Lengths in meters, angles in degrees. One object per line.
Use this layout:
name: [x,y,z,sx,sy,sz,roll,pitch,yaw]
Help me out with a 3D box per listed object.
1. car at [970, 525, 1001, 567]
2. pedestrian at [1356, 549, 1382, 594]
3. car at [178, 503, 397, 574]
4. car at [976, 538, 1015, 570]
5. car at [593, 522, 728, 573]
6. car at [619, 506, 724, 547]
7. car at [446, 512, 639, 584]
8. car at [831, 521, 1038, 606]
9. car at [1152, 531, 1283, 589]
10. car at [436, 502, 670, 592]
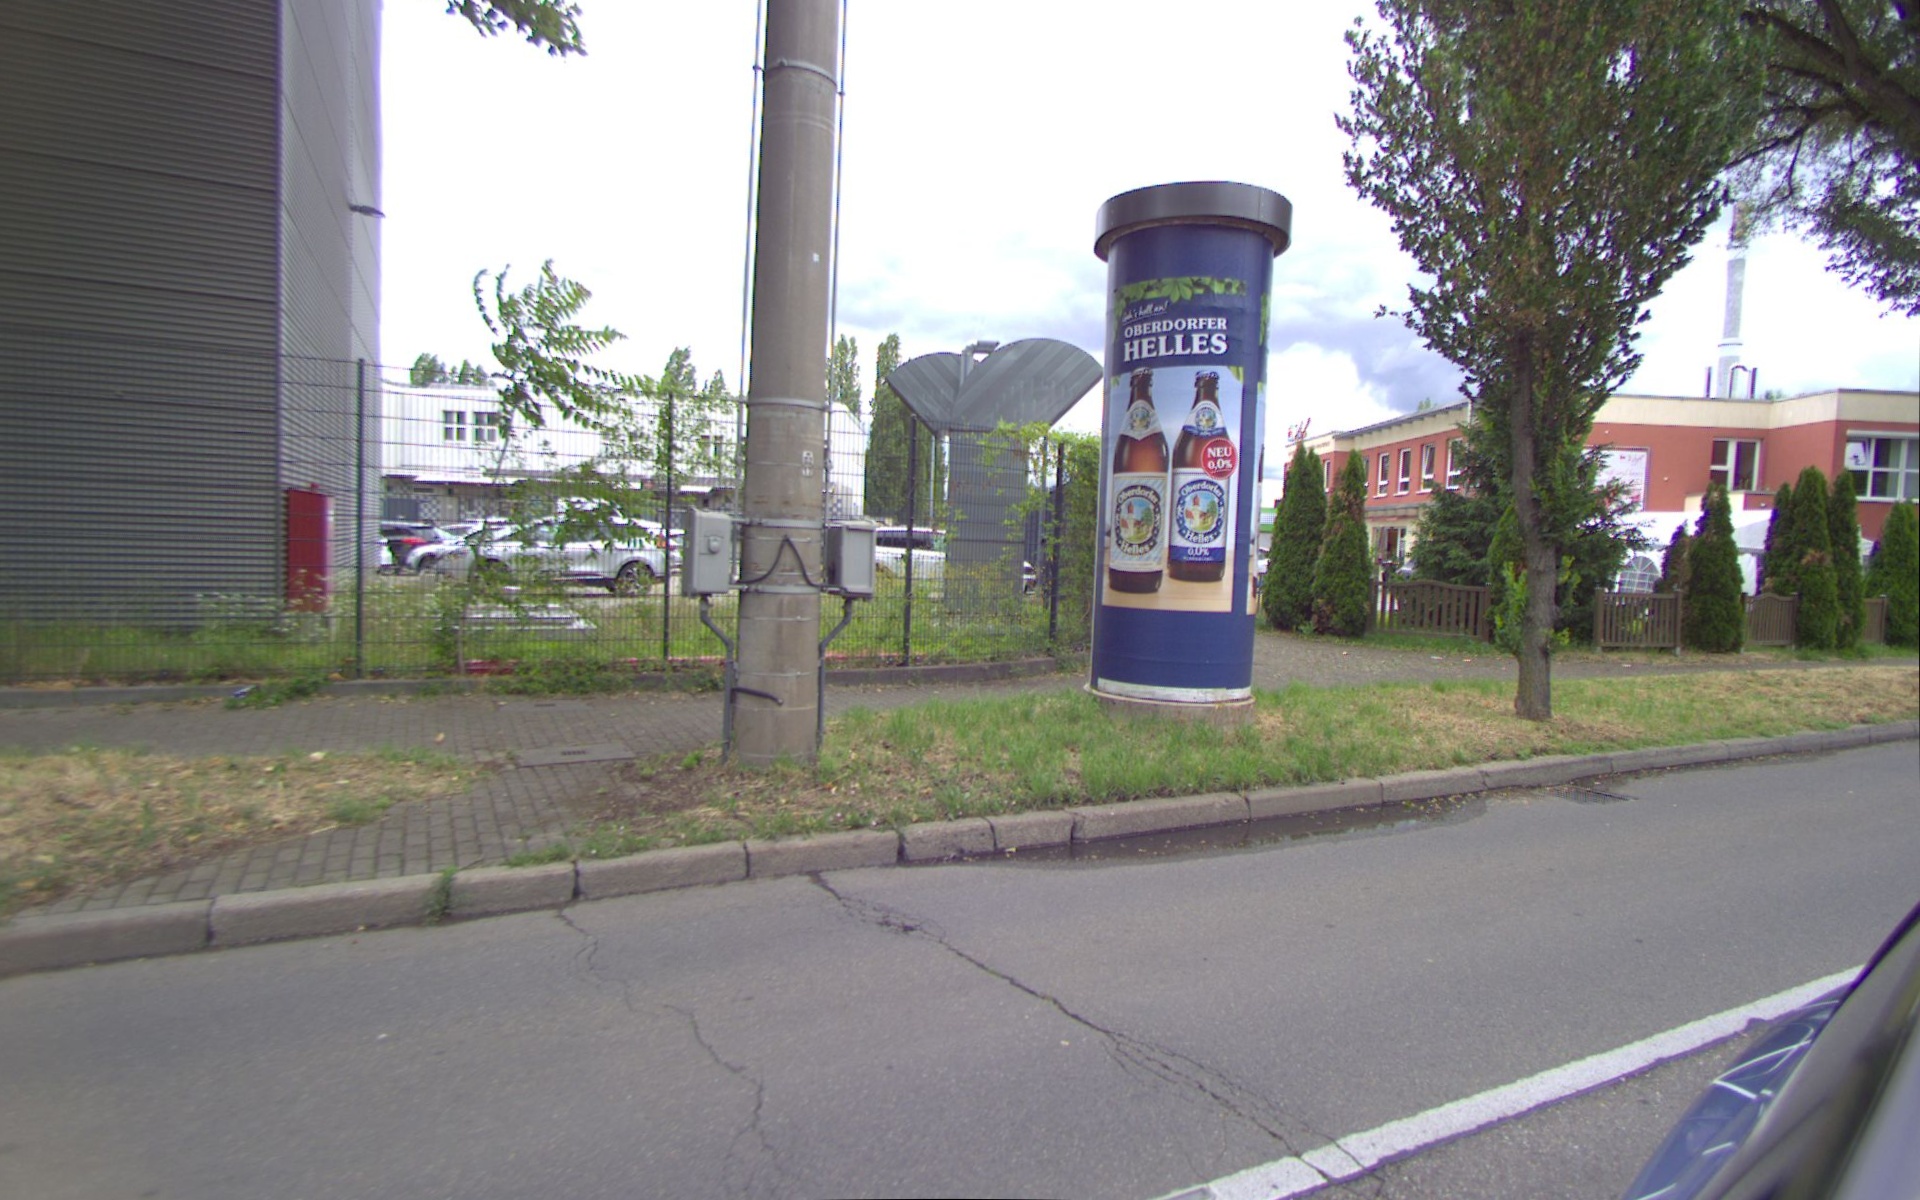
car: [1.943,-4.099,78.048,1.935,3.000,5.593,0,1,-3]
pedestrian: [16.209,-1.127,40.118,0.854,1.783,0.598,1,1,17]
car: [-16.875,-1.516,25.573,4.187,1.670,2.002,0,1,-3]
car: [2.043,-2.680,59.567,1.935,1.738,4.003,0,1,-3]
car: [-10.407,-1.799,35.412,4.187,1.670,2.002,0,1,-3]
car: [-12.859,-3.254,45.269,4.187,1.670,2.002,0,1,-3]
car: [-10.892,-1.372,26.733,1.984,1.685,4.456,4,4,30]
car: [-0.574,-0.853,22.885,4.415,1.685,2.002,2,3,0]
car: [8.437,-1.270,33.084,3.919,1.772,1.858,0,1,-28]
car: [-8.300,-1.017,20.694,4.186,1.670,2.002,0,1,-31]
